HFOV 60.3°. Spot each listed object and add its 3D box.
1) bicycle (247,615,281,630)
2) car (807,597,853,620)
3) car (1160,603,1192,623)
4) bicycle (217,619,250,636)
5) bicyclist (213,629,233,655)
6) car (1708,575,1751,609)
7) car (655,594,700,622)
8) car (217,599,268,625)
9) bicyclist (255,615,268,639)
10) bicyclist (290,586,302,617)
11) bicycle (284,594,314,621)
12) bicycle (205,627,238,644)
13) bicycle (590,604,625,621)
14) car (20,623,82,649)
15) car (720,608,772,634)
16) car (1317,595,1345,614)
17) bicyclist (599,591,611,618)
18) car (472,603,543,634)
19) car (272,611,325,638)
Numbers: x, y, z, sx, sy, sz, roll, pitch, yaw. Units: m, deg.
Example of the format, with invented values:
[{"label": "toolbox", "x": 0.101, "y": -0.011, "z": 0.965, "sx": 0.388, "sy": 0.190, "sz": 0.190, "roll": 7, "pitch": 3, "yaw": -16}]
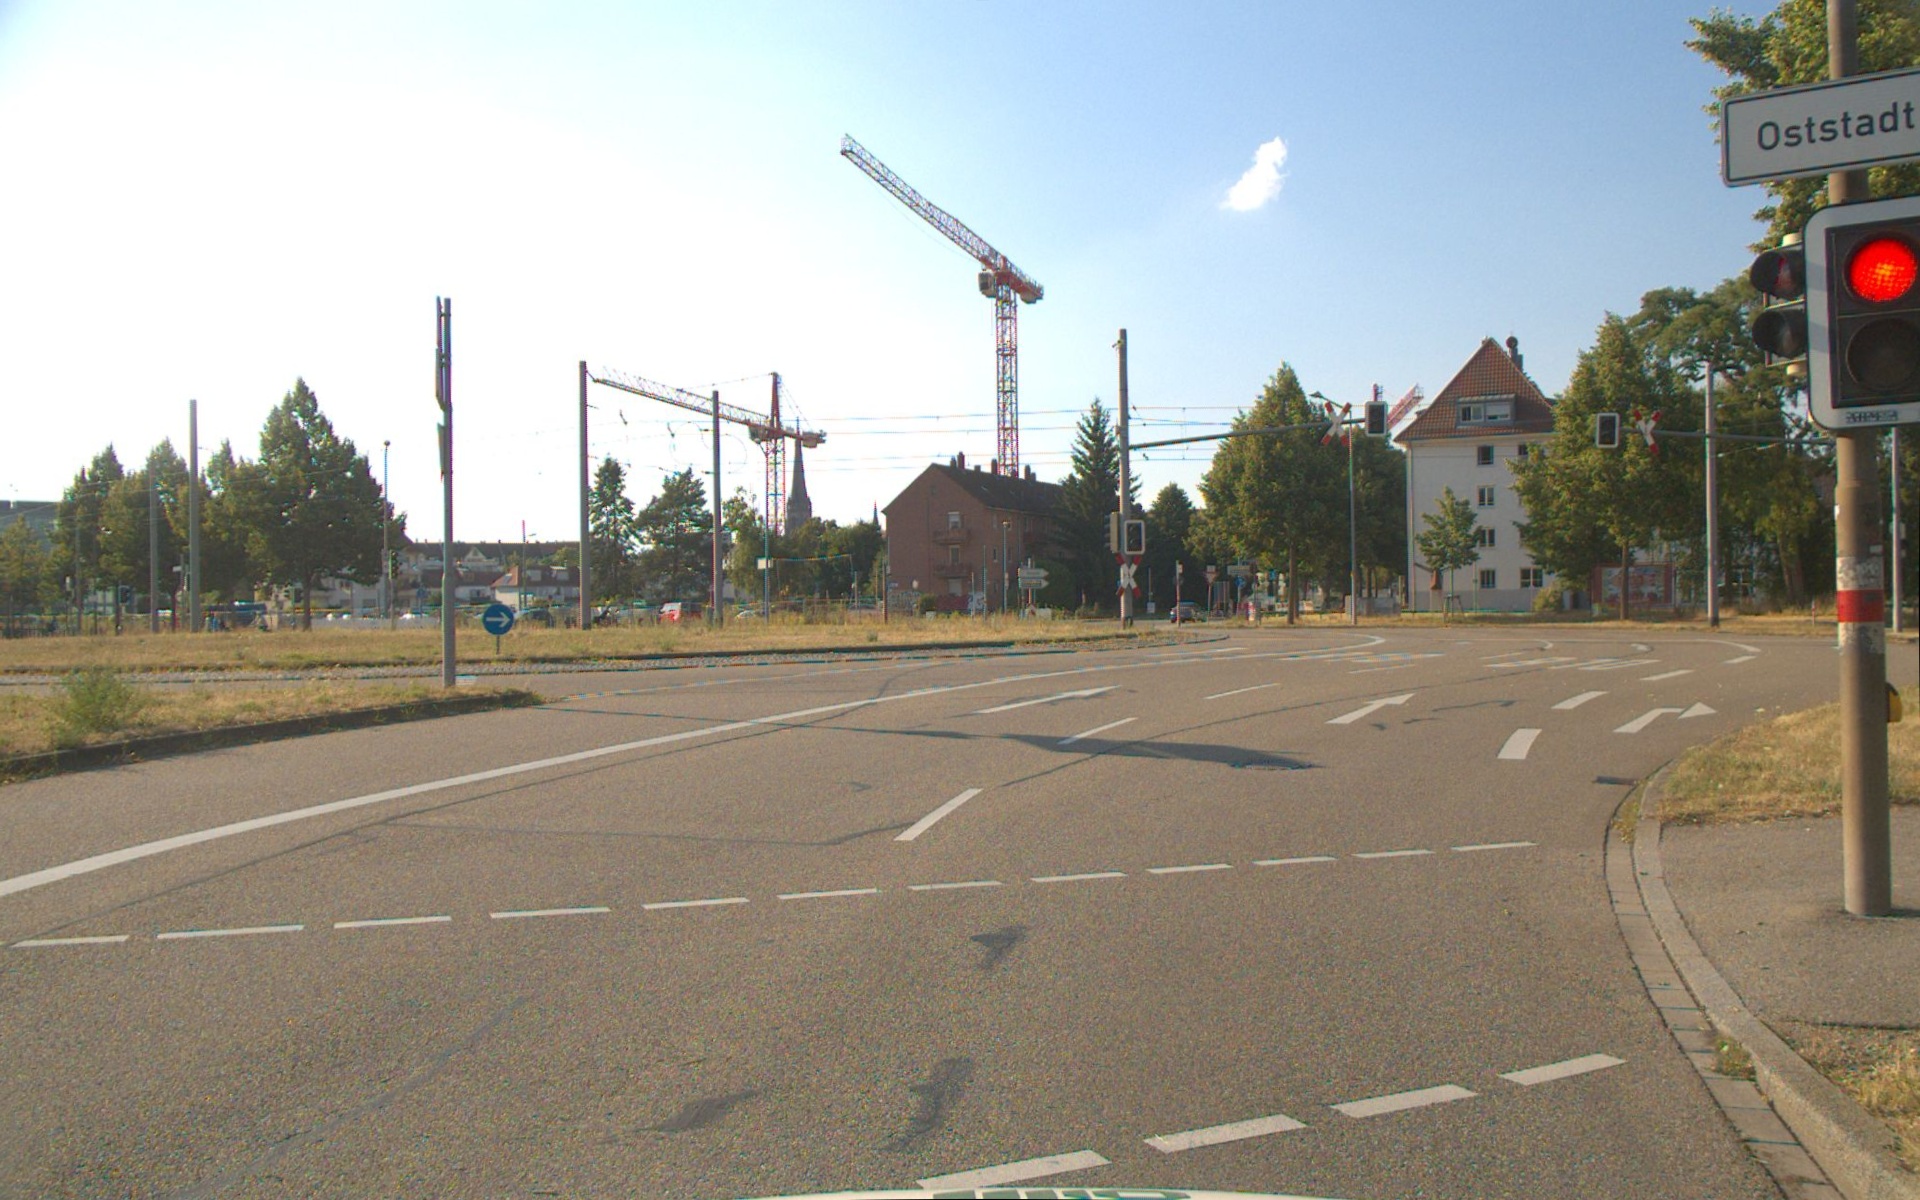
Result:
[{"label": "bicycle", "x": -38.422, "y": 1.227, "z": 91.309, "sx": 1.693, "sy": 0.757, "sz": 0.477, "roll": -1, "pitch": 0, "yaw": -23}, {"label": "car", "x": -11.696, "y": 0.785, "z": 149.036, "sx": 3.728, "sy": 2.049, "sz": 1.673, "roll": -1, "pitch": -1, "yaw": 18}, {"label": "car", "x": 15.214, "y": 0.919, "z": 116.352, "sx": 1.425, "sy": 1.323, "sz": 3.549, "roll": -1, "pitch": 0, "yaw": 21}, {"label": "bicycle", "x": -38.662, "y": 1.456, "z": 87.989, "sx": 1.595, "sy": 0.875, "sz": 0.540, "roll": -1, "pitch": 0, "yaw": -27}, {"label": "bicyclist", "x": -40.095, "y": 2.296, "z": 89.956, "sx": 0.943, "sy": 1.381, "sz": 0.687, "roll": -1, "pitch": 0, "yaw": -27}, {"label": "car", "x": 38.513, "y": -0.395, "z": 82.728, "sx": 1.737, "sy": 1.646, "sz": 3.963, "roll": -1, "pitch": -1, "yaw": 27}, {"label": "car", "x": -19.792, "y": 0.559, "z": 115.716, "sx": 1.899, "sy": 1.886, "sz": 3.960, "roll": -1, "pitch": 0, "yaw": -29}, {"label": "car", "x": -58.646, "y": 0.987, "z": 135.116, "sx": 3.917, "sy": 2.049, "sz": 1.994, "roll": -1, "pitch": 0, "yaw": 34}, {"label": "bicyclist", "x": -38.554, "y": 1.486, "z": 91.282, "sx": 0.643, "sy": 1.349, "sz": 0.515, "roll": -1, "pitch": 0, "yaw": -22}, {"label": "bicyclist", "x": -36.760, "y": 0.059, "z": 91.525, "sx": 0.599, "sy": 1.701, "sz": 0.474, "roll": -1, "pitch": -1, "yaw": -26}, {"label": "bicycle", "x": -36.602, "y": 0.408, "z": 91.579, "sx": 1.521, "sy": 1.499, "sz": 0.475, "roll": -1, "pitch": 0, "yaw": -27}, {"label": "bicycle", "x": -40.120, "y": 1.906, "z": 89.895, "sx": 1.595, "sy": 0.875, "sz": 0.540, "roll": -1, "pitch": 0, "yaw": -27}, {"label": "bicycle", "x": -20.319, "y": 0.692, "z": 95.341, "sx": 1.949, "sy": 0.934, "sz": 0.429, "roll": -1, "pitch": 0, "yaw": -6}, {"label": "car", "x": -46.805, "y": 1.849, "z": 85.198, "sx": 2.649, "sy": 1.283, "sz": 1.098, "roll": -1, "pitch": 0, "yaw": -39}, {"label": "car", "x": -17.122, "y": 1.688, "z": 132.243, "sx": 3.728, "sy": 2.049, "sz": 1.673, "roll": -1, "pitch": -1, "yaw": 18}, {"label": "car", "x": 37.054, "y": 0.460, "z": 165.208, "sx": 1.953, "sy": 1.811, "sz": 3.998, "roll": 1, "pitch": 0, "yaw": 24}, {"label": "bicyclist", "x": -20.451, "y": 0.253, "z": 95.326, "sx": 0.610, "sy": 1.537, "sz": 0.418, "roll": -1, "pitch": 0, "yaw": -6}, {"label": "car", "x": -28.797, "y": 1.166, "z": 105.310, "sx": 3.950, "sy": 1.847, "sz": 1.977, "roll": -1, "pitch": 0, "yaw": -33}, {"label": "car", "x": -52.177, "y": 1.932, "z": 130.424, "sx": 3.917, "sy": 2.049, "sz": 1.994, "roll": -1, "pitch": 0, "yaw": 34}]
